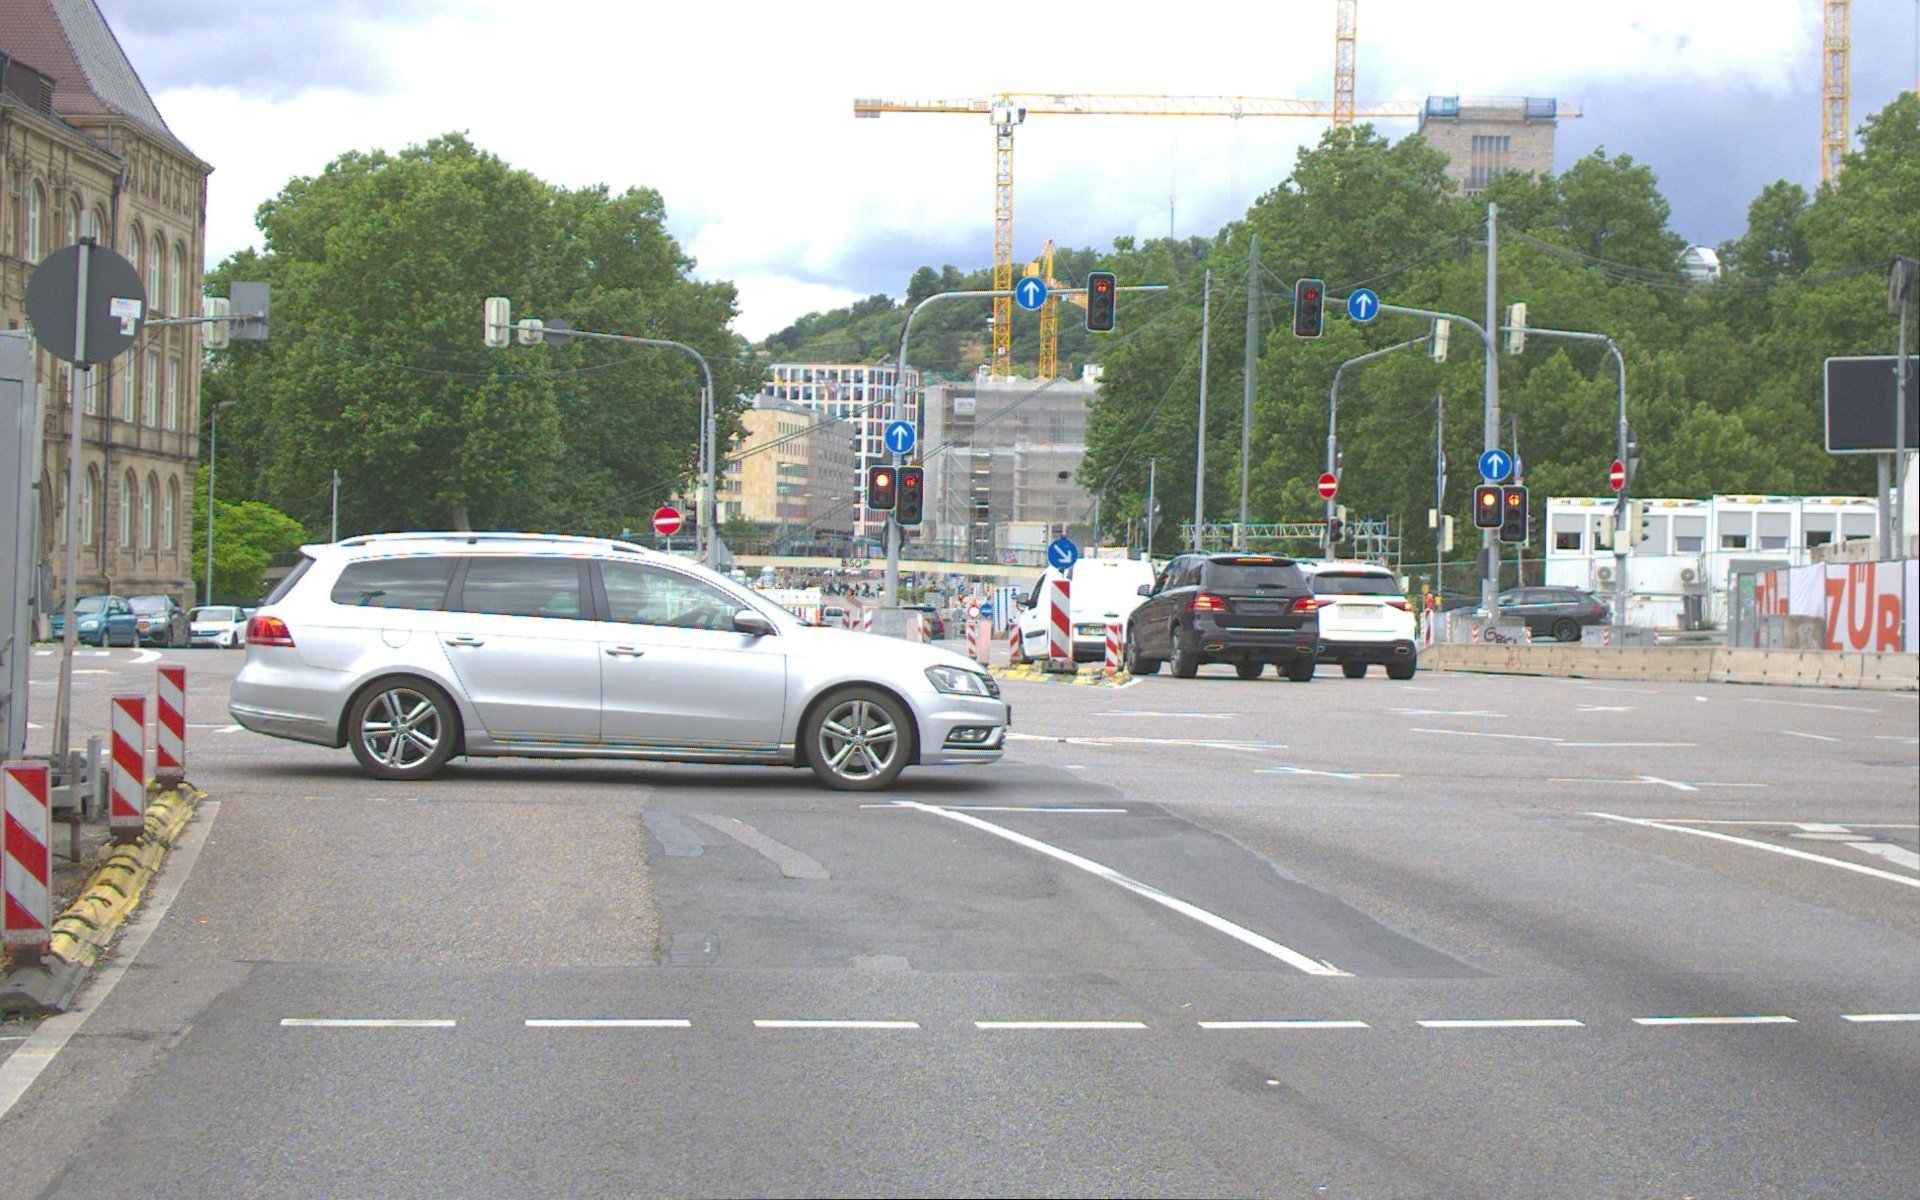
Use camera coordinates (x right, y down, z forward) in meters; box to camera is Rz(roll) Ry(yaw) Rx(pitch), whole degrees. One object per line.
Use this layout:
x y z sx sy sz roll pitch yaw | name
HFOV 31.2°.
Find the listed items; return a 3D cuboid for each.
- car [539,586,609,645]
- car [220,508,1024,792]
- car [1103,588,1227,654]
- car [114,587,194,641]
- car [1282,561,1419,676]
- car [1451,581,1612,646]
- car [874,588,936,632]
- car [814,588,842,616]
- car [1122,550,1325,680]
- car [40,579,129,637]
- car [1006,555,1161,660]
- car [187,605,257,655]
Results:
-9.554 0.372 85.019 1.675 1.393 3.684 1 1 -7 | car
-2.035 0.291 21.163 4.709 1.619 1.682 1 0 -4 | car
4.506 0.447 75.996 1.675 1.393 3.087 1 1 -19 | car
-21.772 0.369 92.926 1.675 1.393 3.684 1 1 -7 | car
5.989 0.266 53.055 1.676 1.696 3.374 1 1 -1 | car
14.630 0.325 87.953 3.989 1.546 1.781 1 1 10 | car
-1.851 0.336 114.763 1.675 1.393 3.684 1 1 -7 | car
-9.969 0.170 259.099 1.993 2.007 4.001 1 1 -3 | car
3.663 0.183 48.488 1.831 1.740 4.257 1 1 -10 | car
-21.991 0.183 86.495 1.675 1.393 3.684 1 1 -7 | car
1.953 0.098 55.534 1.816 1.619 4.001 1 1 -8 | car
-21.749 0.878 101.433 1.675 1.393 3.684 1 1 -7 | car
